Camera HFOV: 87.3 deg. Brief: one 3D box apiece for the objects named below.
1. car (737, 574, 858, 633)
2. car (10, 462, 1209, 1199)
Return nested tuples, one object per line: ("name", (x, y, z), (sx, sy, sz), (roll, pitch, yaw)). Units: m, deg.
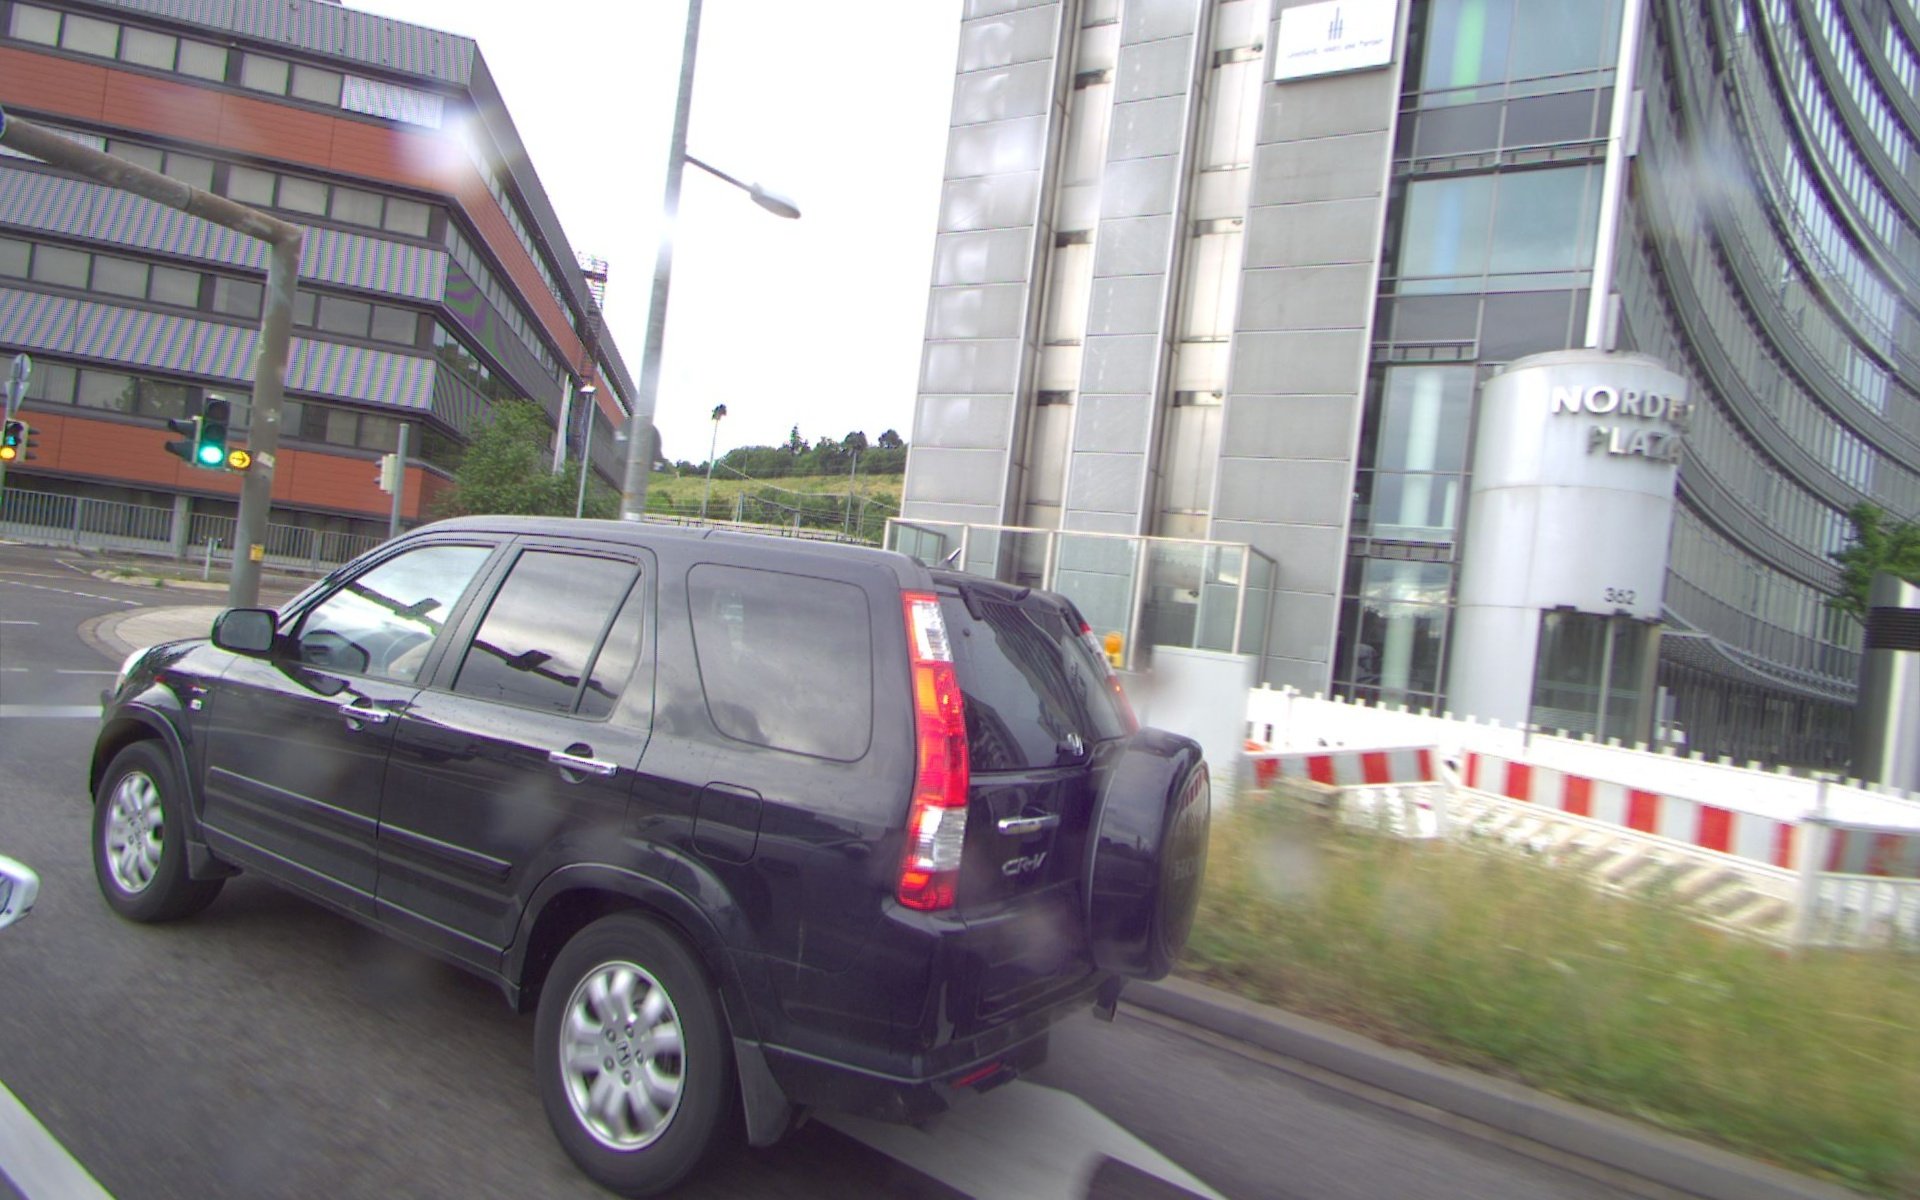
("car", (-7.154, 0.194, 44.759), (1.972, 1.937, 5.063), (5, -4, 41))
("car", (-1.485, 0.557, 3.806), (4.252, 1.647, 1.771), (6, -3, 30))
